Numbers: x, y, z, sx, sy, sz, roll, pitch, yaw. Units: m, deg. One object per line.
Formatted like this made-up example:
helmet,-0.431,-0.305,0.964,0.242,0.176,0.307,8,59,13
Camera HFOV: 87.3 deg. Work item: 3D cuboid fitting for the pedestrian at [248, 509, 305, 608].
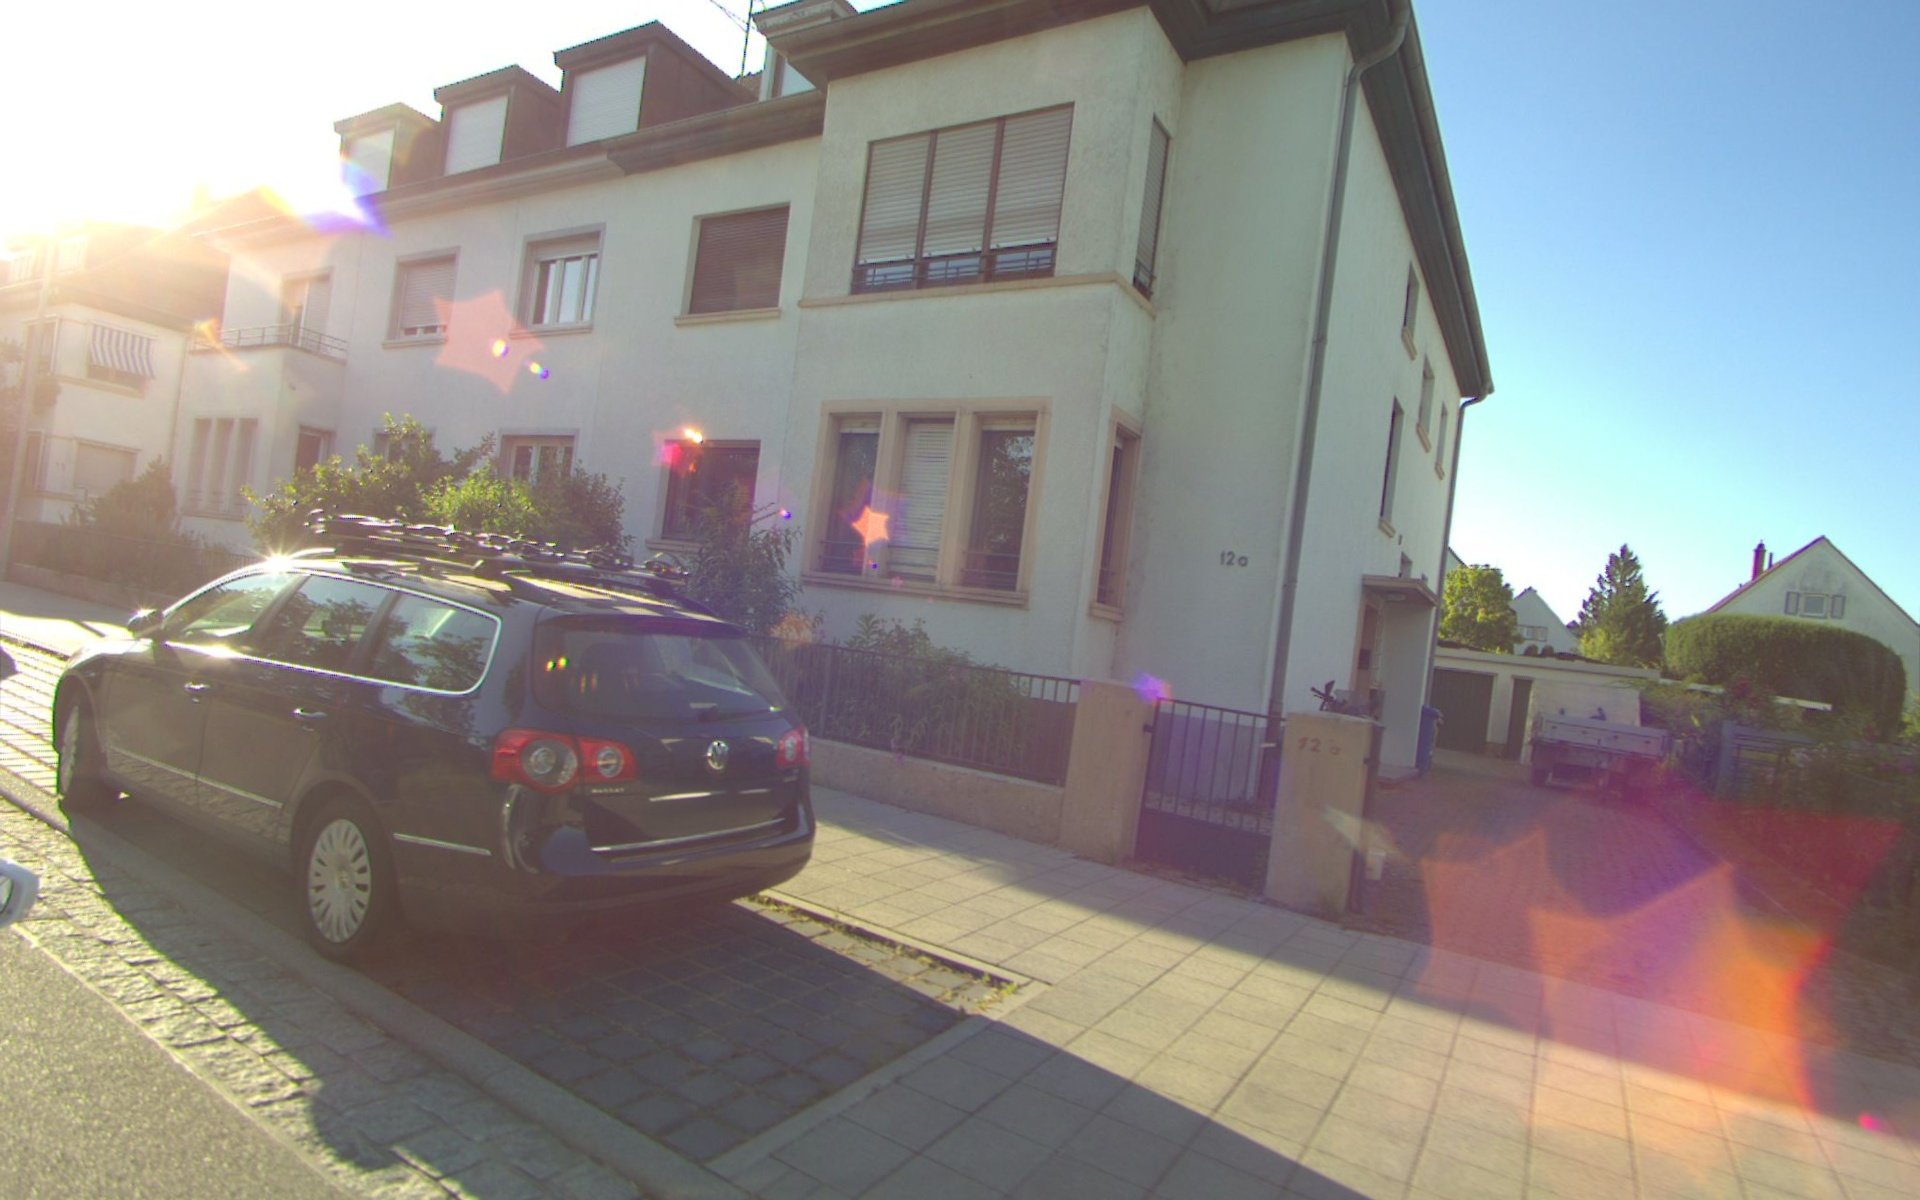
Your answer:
pedestrian,-11.778,-0.700,17.346,0.591,1.595,0.625,9,-2,-32

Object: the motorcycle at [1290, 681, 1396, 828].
motorcycle,3.914,1.500,10.180,0.588,1.262,2.073,6,-1,29

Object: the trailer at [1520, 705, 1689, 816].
trailer,10.458,2.566,16.606,1.966,1.276,4.074,7,-3,30

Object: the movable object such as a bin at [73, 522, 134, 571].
movable object such as a bin,-23.026,-1.439,27.048,0.777,1.112,0.986,6,-3,36

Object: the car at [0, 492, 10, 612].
car,-12.499,-0.594,11.149,4.139,1.594,1.720,6,0,31

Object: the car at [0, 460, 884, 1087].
car,-2.752,0.423,4.954,4.398,1.793,1.795,7,0,32

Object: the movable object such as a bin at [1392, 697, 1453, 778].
movable object such as a bin,7.323,2.170,15.918,0.684,1.150,0.888,6,-3,31

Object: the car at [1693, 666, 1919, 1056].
car,6.025,1.440,6.106,1.821,1.746,4.227,6,-2,28
